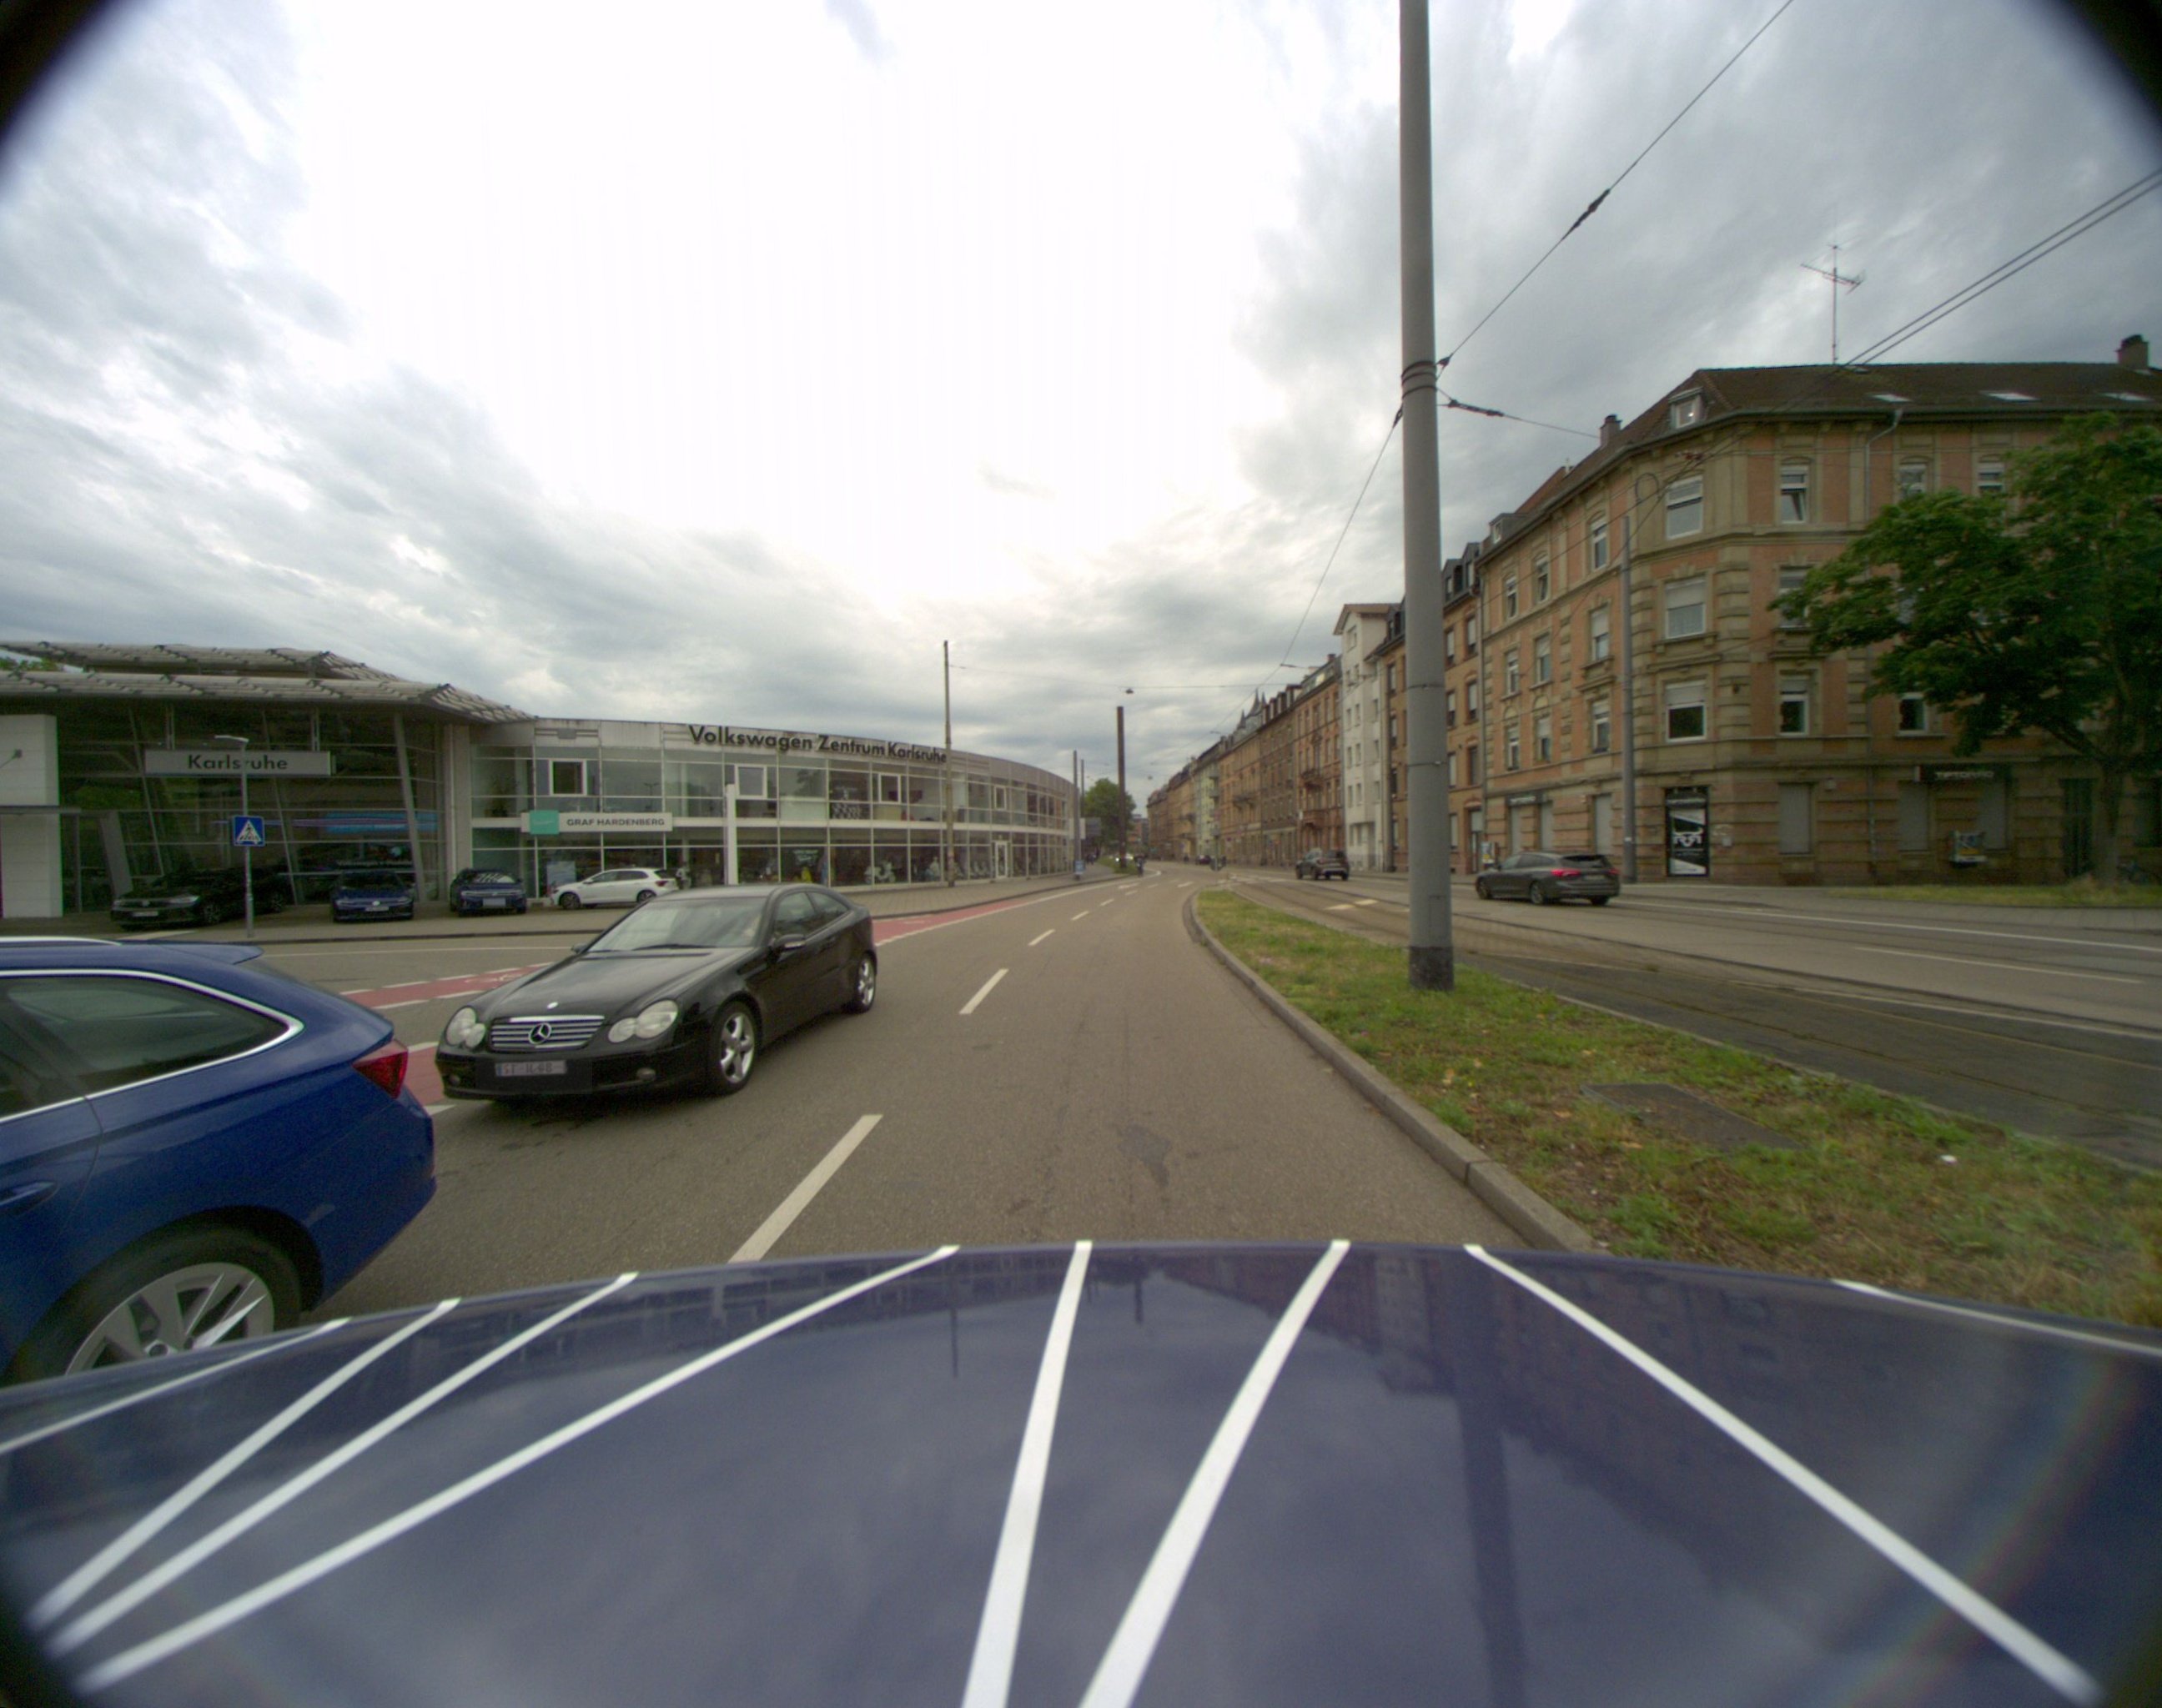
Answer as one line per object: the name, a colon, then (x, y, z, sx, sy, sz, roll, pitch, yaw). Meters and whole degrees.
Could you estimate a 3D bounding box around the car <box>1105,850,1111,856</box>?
car: (7.929, -0.222, 222.388, 1.802, 1.630, 4.230, -1, 0, 1)

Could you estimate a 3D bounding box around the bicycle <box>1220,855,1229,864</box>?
bicycle: (15.937, 0.630, 84.395, 0.607, 0.910, 1.719, -1, 0, -4)

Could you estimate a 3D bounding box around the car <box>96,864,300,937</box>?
car: (-26.479, 1.294, 23.073, 1.862, 1.624, 4.500, -2, 4, -18)

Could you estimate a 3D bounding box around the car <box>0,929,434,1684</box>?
car: (-3.199, 1.038, 0.417, 1.784, 1.480, 4.465, -1, 1, 1)

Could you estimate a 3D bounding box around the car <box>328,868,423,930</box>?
car: (-22.195, 1.316, 23.843, 4.325, 1.496, 1.862, 3, 3, 43)

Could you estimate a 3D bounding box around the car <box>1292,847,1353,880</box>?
car: (12.831, 0.467, 40.672, 1.802, 1.630, 4.229, -1, 0, -1)

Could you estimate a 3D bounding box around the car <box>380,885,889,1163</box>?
car: (-3.101, 1.072, 6.421, 1.714, 1.413, 4.070, -1, 0, 3)

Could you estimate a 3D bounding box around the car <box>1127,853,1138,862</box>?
car: (9.038, 0.632, 134.233, 1.802, 1.630, 4.230, -1, 0, 1)

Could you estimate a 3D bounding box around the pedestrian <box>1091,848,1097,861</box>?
pedestrian: (1.759, 0.059, 104.379, 0.871, 1.843, 0.706, -1, 1, 1)

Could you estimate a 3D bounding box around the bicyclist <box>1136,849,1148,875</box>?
bicyclist: (4.157, 0.569, 51.942, 0.730, 1.747, 0.911, -1, 1, 7)

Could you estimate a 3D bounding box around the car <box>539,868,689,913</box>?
car: (-16.991, 1.290, 27.839, 4.263, 1.444, 1.781, -1, 0, -9)

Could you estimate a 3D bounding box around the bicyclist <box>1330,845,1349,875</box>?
bicyclist: (16.286, 0.363, 47.909, 0.831, 1.881, 1.049, 0, 0, -1)

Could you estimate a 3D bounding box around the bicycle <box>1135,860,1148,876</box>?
bicycle: (4.147, 0.954, 51.815, 0.727, 1.003, 2.177, -1, 0, 7)

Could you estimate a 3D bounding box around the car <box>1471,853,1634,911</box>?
car: (12.853, 0.691, 21.076, 1.698, 1.387, 4.391, -1, 0, -2)

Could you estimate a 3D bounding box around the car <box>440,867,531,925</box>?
car: (-20.142, 1.347, 25.640, 1.905, 1.554, 4.207, -2, 3, -45)

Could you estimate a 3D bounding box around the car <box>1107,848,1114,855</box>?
car: (7.335, -0.611, 189.619, 1.802, 1.630, 4.230, -1, 0, 1)

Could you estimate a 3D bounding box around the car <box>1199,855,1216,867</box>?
car: (17.147, 0.929, 102.894, 1.852, 1.471, 3.828, -1, 0, 3)

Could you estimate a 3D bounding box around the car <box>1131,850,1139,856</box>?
car: (13.603, -0.223, 190.105, 1.802, 1.630, 4.230, -1, 0, 1)

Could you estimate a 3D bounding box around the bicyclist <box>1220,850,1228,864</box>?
bicyclist: (15.919, 0.310, 84.442, 0.663, 1.486, 0.942, -1, 1, -3)

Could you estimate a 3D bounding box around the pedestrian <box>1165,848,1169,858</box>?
pedestrian: (17.012, -0.232, 150.594, 0.814, 2.002, 0.733, -1, 1, 1)

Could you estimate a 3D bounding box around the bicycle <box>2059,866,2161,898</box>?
bicycle: (30.329, 0.827, 22.234, 0.662, 0.909, 1.989, 0, -3, -10)
